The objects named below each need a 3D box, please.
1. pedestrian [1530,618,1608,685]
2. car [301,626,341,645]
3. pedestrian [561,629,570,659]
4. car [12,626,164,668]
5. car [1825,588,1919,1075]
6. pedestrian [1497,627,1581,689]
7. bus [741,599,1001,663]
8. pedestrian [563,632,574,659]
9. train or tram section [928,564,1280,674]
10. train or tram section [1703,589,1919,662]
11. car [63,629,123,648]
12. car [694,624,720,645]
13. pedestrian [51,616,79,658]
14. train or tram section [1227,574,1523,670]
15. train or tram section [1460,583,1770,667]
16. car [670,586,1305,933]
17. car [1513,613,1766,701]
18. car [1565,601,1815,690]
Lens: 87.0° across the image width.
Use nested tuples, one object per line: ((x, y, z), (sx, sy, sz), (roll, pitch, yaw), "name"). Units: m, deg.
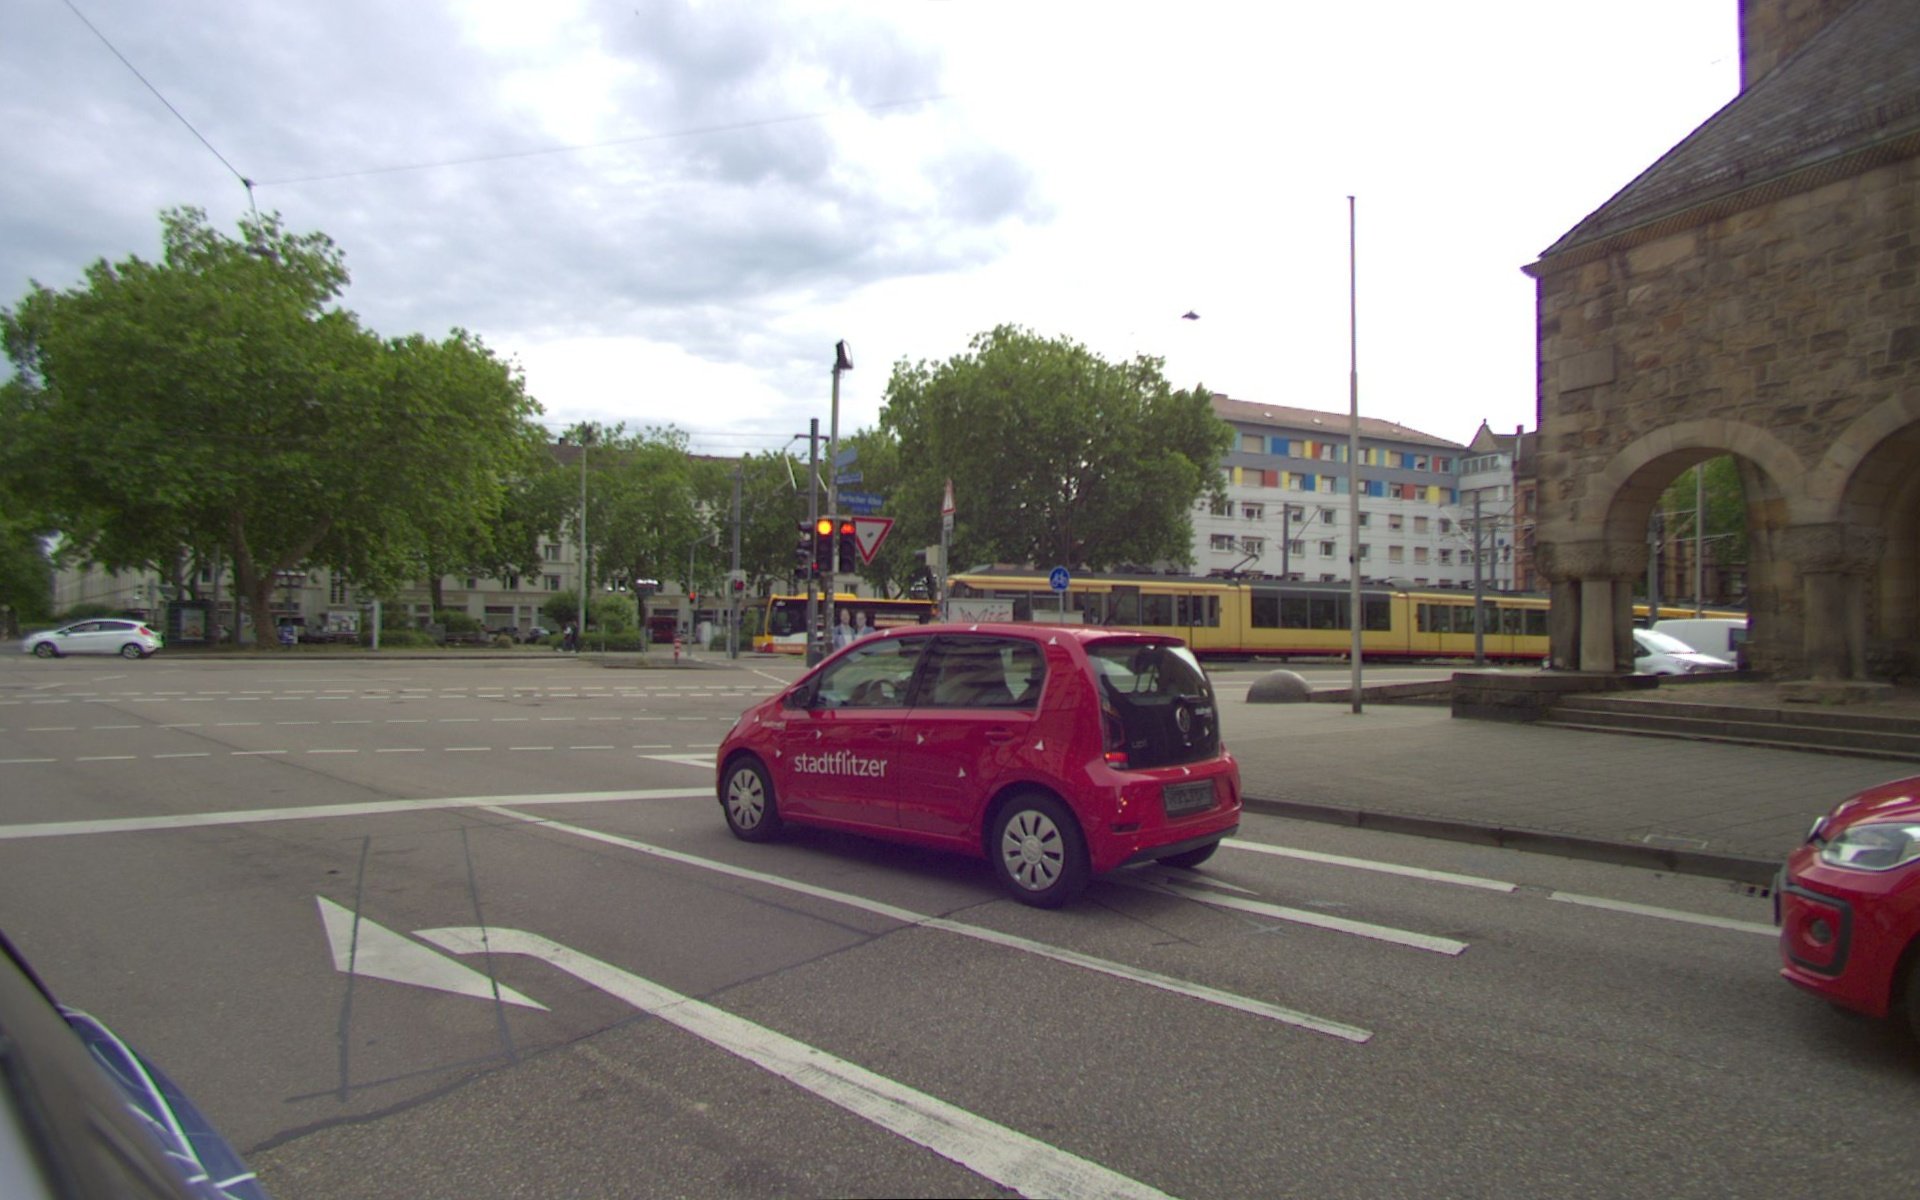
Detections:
((11.690, 0.980, 19.444), (1.045, 1.238, 0.740), (1, 0, -9), "pedestrian")
((-49.928, 2.743, 79.050), (1.969, 1.400, 4.840), (1, -2, -41), "car")
((-19.588, 2.167, 50.235), (0.367, 1.490, 0.363), (1, -2, -31), "pedestrian")
((-31.600, 1.681, 36.805), (3.823, 1.408, 1.714), (1, 0, -24), "car")
((4.689, 0.733, 2.597), (3.715, 1.468, 1.586), (0, -3, 40), "car")
((11.684, 1.151, 20.417), (1.467, 1.200, 0.741), (1, 0, -24), "pedestrian")
((-4.227, 1.479, 49.434), (12.164, 2.878, 3.303), (1, 0, -24), "bus")
((-19.318, 2.235, 49.928), (0.462, 1.336, 0.458), (1, -2, -31), "pedestrian")
((6.226, 0.797, 42.377), (14.777, 4.124, 3.667), (1, 0, -23), "train or tram section")
((52.295, 1.549, 61.721), (15.923, 4.124, 3.537), (1, 0, -23), "train or tram section")
((-70.390, 3.094, 82.183), (3.964, 1.497, 1.793), (0, -1, 16), "car")
((-25.643, 3.484, 102.592), (1.965, 2.029, 4.013), (1, -2, -22), "car")
((-41.125, 1.688, 46.491), (0.682, 1.900, 0.686), (1, 0, 13), "pedestrian")
((19.908, 1.048, 48.064), (14.777, 4.124, 3.593), (1, 0, -23), "train or tram section")
((35.771, 1.344, 54.758), (19.601, 4.124, 3.640), (1, 0, -23), "train or tram section")
((-0.029, 0.803, 6.432), (3.892, 1.540, 1.631), (-2, -5, 42), "car")
((14.617, 1.150, 22.082), (1.634, 1.648, 4.377), (1, 0, -24), "car")
((17.243, 0.991, 24.205), (1.634, 1.895, 4.641), (1, 0, -24), "car")
